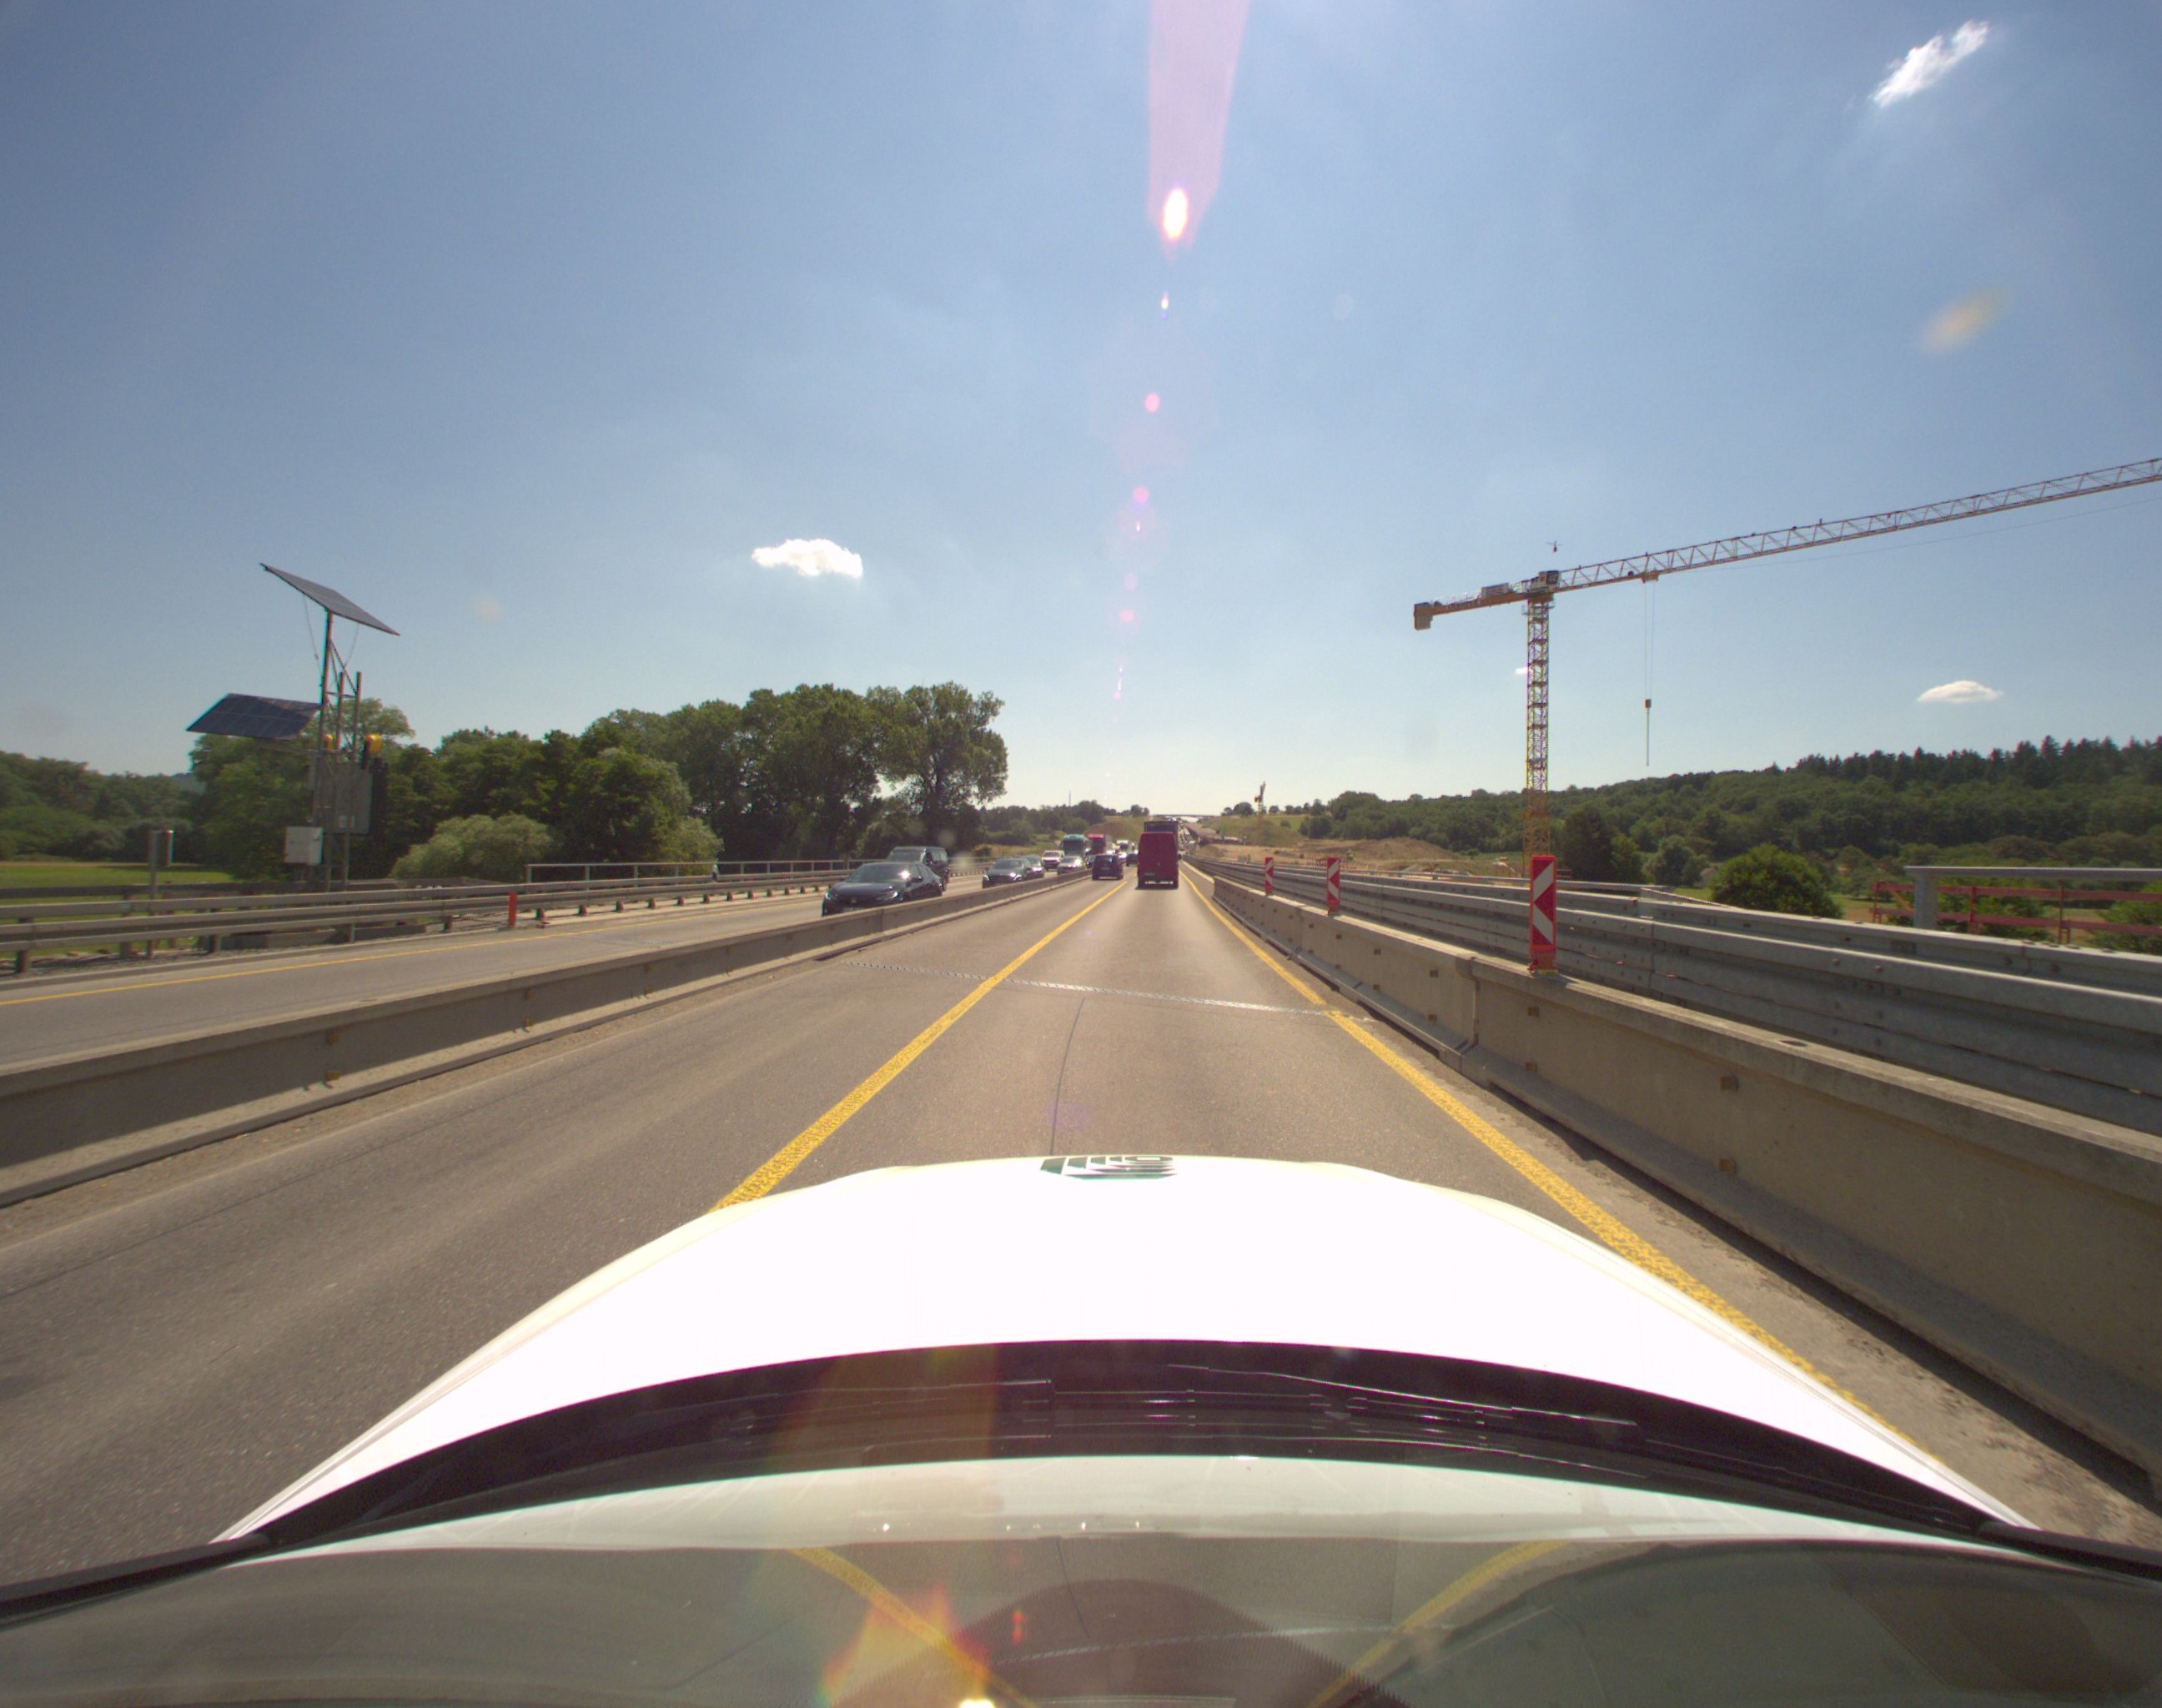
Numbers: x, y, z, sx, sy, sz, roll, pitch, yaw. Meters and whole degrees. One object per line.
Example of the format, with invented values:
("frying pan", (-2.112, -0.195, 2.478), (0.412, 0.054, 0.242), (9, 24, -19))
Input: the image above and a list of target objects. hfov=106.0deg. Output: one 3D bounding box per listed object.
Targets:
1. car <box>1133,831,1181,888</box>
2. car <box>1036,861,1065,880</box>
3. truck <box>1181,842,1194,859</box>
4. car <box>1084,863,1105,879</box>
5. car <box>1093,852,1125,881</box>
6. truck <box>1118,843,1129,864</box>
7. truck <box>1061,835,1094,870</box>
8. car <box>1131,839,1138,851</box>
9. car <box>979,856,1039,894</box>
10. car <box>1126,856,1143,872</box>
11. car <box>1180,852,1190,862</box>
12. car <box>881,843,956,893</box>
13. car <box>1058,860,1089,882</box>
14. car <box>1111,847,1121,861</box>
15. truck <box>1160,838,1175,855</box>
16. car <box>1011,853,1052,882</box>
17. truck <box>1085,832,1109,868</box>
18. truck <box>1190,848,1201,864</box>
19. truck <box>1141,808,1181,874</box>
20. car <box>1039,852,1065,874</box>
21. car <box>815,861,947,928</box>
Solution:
("car", (3.778, 0.265, 40.562), (2.140, 2.611, 5.446), (1, 0, 5))
("car", (-2.520, 1.363, 68.275), (1.812, 1.496, 5.179), (1, 0, 5))
("truck", (21.047, -0.661, 160.694), (2.280, 3.196, 6.490), (0, 0, 5))
("car", (1.409, 1.643, 81.499), (1.812, 1.496, 4.139), (1, 0, 5))
("car", (1.798, 0.741, 51.806), (1.725, 1.635, 4.397), (1, 1, 6))
("truck", (8.988, -0.105, 173.217), (1.984, 4.007, 6.489), (0, -4, 5))
("truck", (-0.299, -0.166, 98.602), (2.795, 3.964, 12.149), (1, 0, 5))
("car", (13.074, -2.179, 199.770), (1.610, 2.602, 3.895), (1, -2, 5))
("car", (-3.020, 0.842, 35.066), (1.748, 1.496, 4.446), (1, 0, 5))
("car", (6.223, 1.146, 94.801), (1.812, 1.697, 4.139), (1, 0, 5))
("car", (18.042, 0.497, 140.927), (1.610, 1.700, 3.895), (1, 0, 5))
("car", (-6.884, 0.571, 35.110), (1.812, 1.943, 5.070), (1, 0, 5))
("car", (-0.521, 1.199, 59.097), (1.812, 1.496, 4.139), (1, 0, 5))
("car", (6.524, -0.022, 150.045), (1.610, 2.602, 3.895), (1, 0, 5))
("truck", (18.394, -1.489, 173.536), (3.168, 2.978, 8.909), (0, -4, 5))
("car", (-2.720, 0.723, 45.513), (1.717, 1.496, 4.139), (1, 0, 5))
("truck", (2.470, -0.511, 120.567), (2.795, 4.939, 12.149), (1, 0, 5))
("truck", (28.955, 0.494, 206.235), (2.280, 3.740, 6.490), (0, -4, 6))
("truck", (6.315, -0.970, 64.949), (2.931, 4.946, 6.749), (0, 0, 4))
("car", (-2.677, 0.830, 75.701), (1.985, 2.014, 4.003), (1, 0, 3))
("car", (-4.613, 0.871, 19.486), (1.661, 1.365, 4.446), (1, 0, 5))
